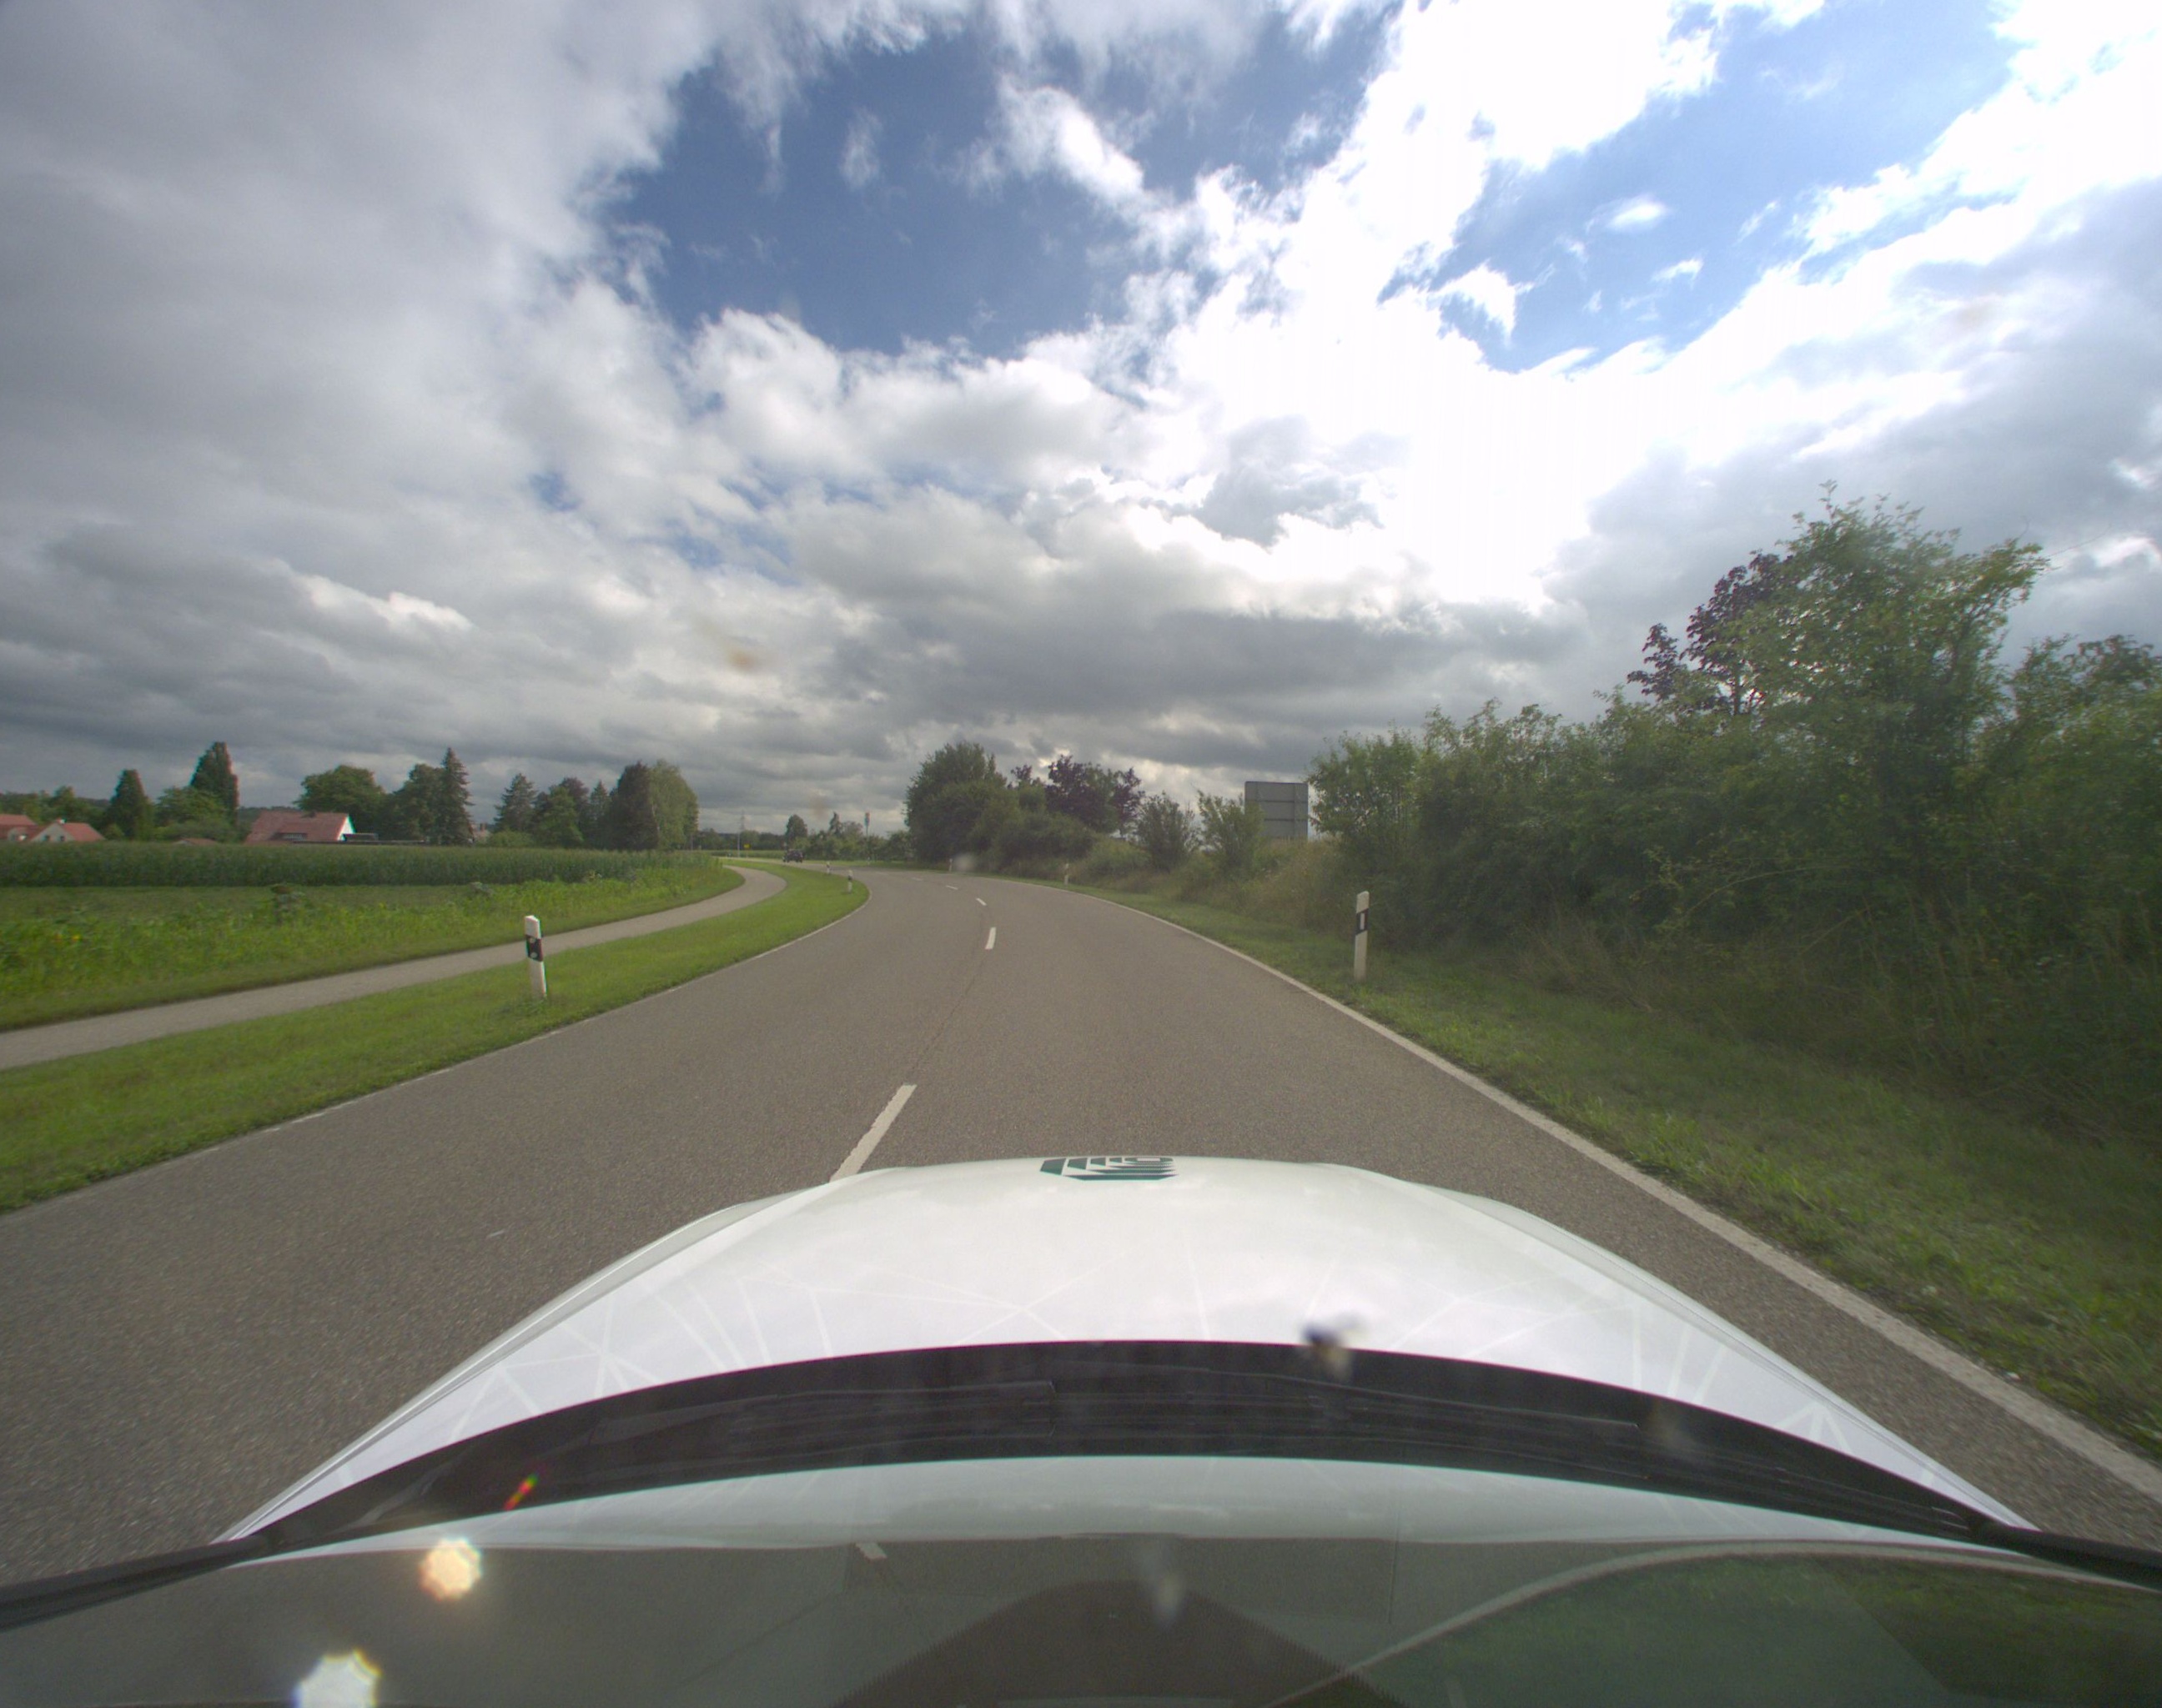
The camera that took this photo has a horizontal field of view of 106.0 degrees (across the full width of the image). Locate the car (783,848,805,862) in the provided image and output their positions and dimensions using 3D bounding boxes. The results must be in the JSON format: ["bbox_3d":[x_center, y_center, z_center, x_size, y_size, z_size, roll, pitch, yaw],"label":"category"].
[{"bbox_3d":[-36.972,0.122,104.836,1.918,1.666,3.963,2,-1,-29],"label":"car"}]
